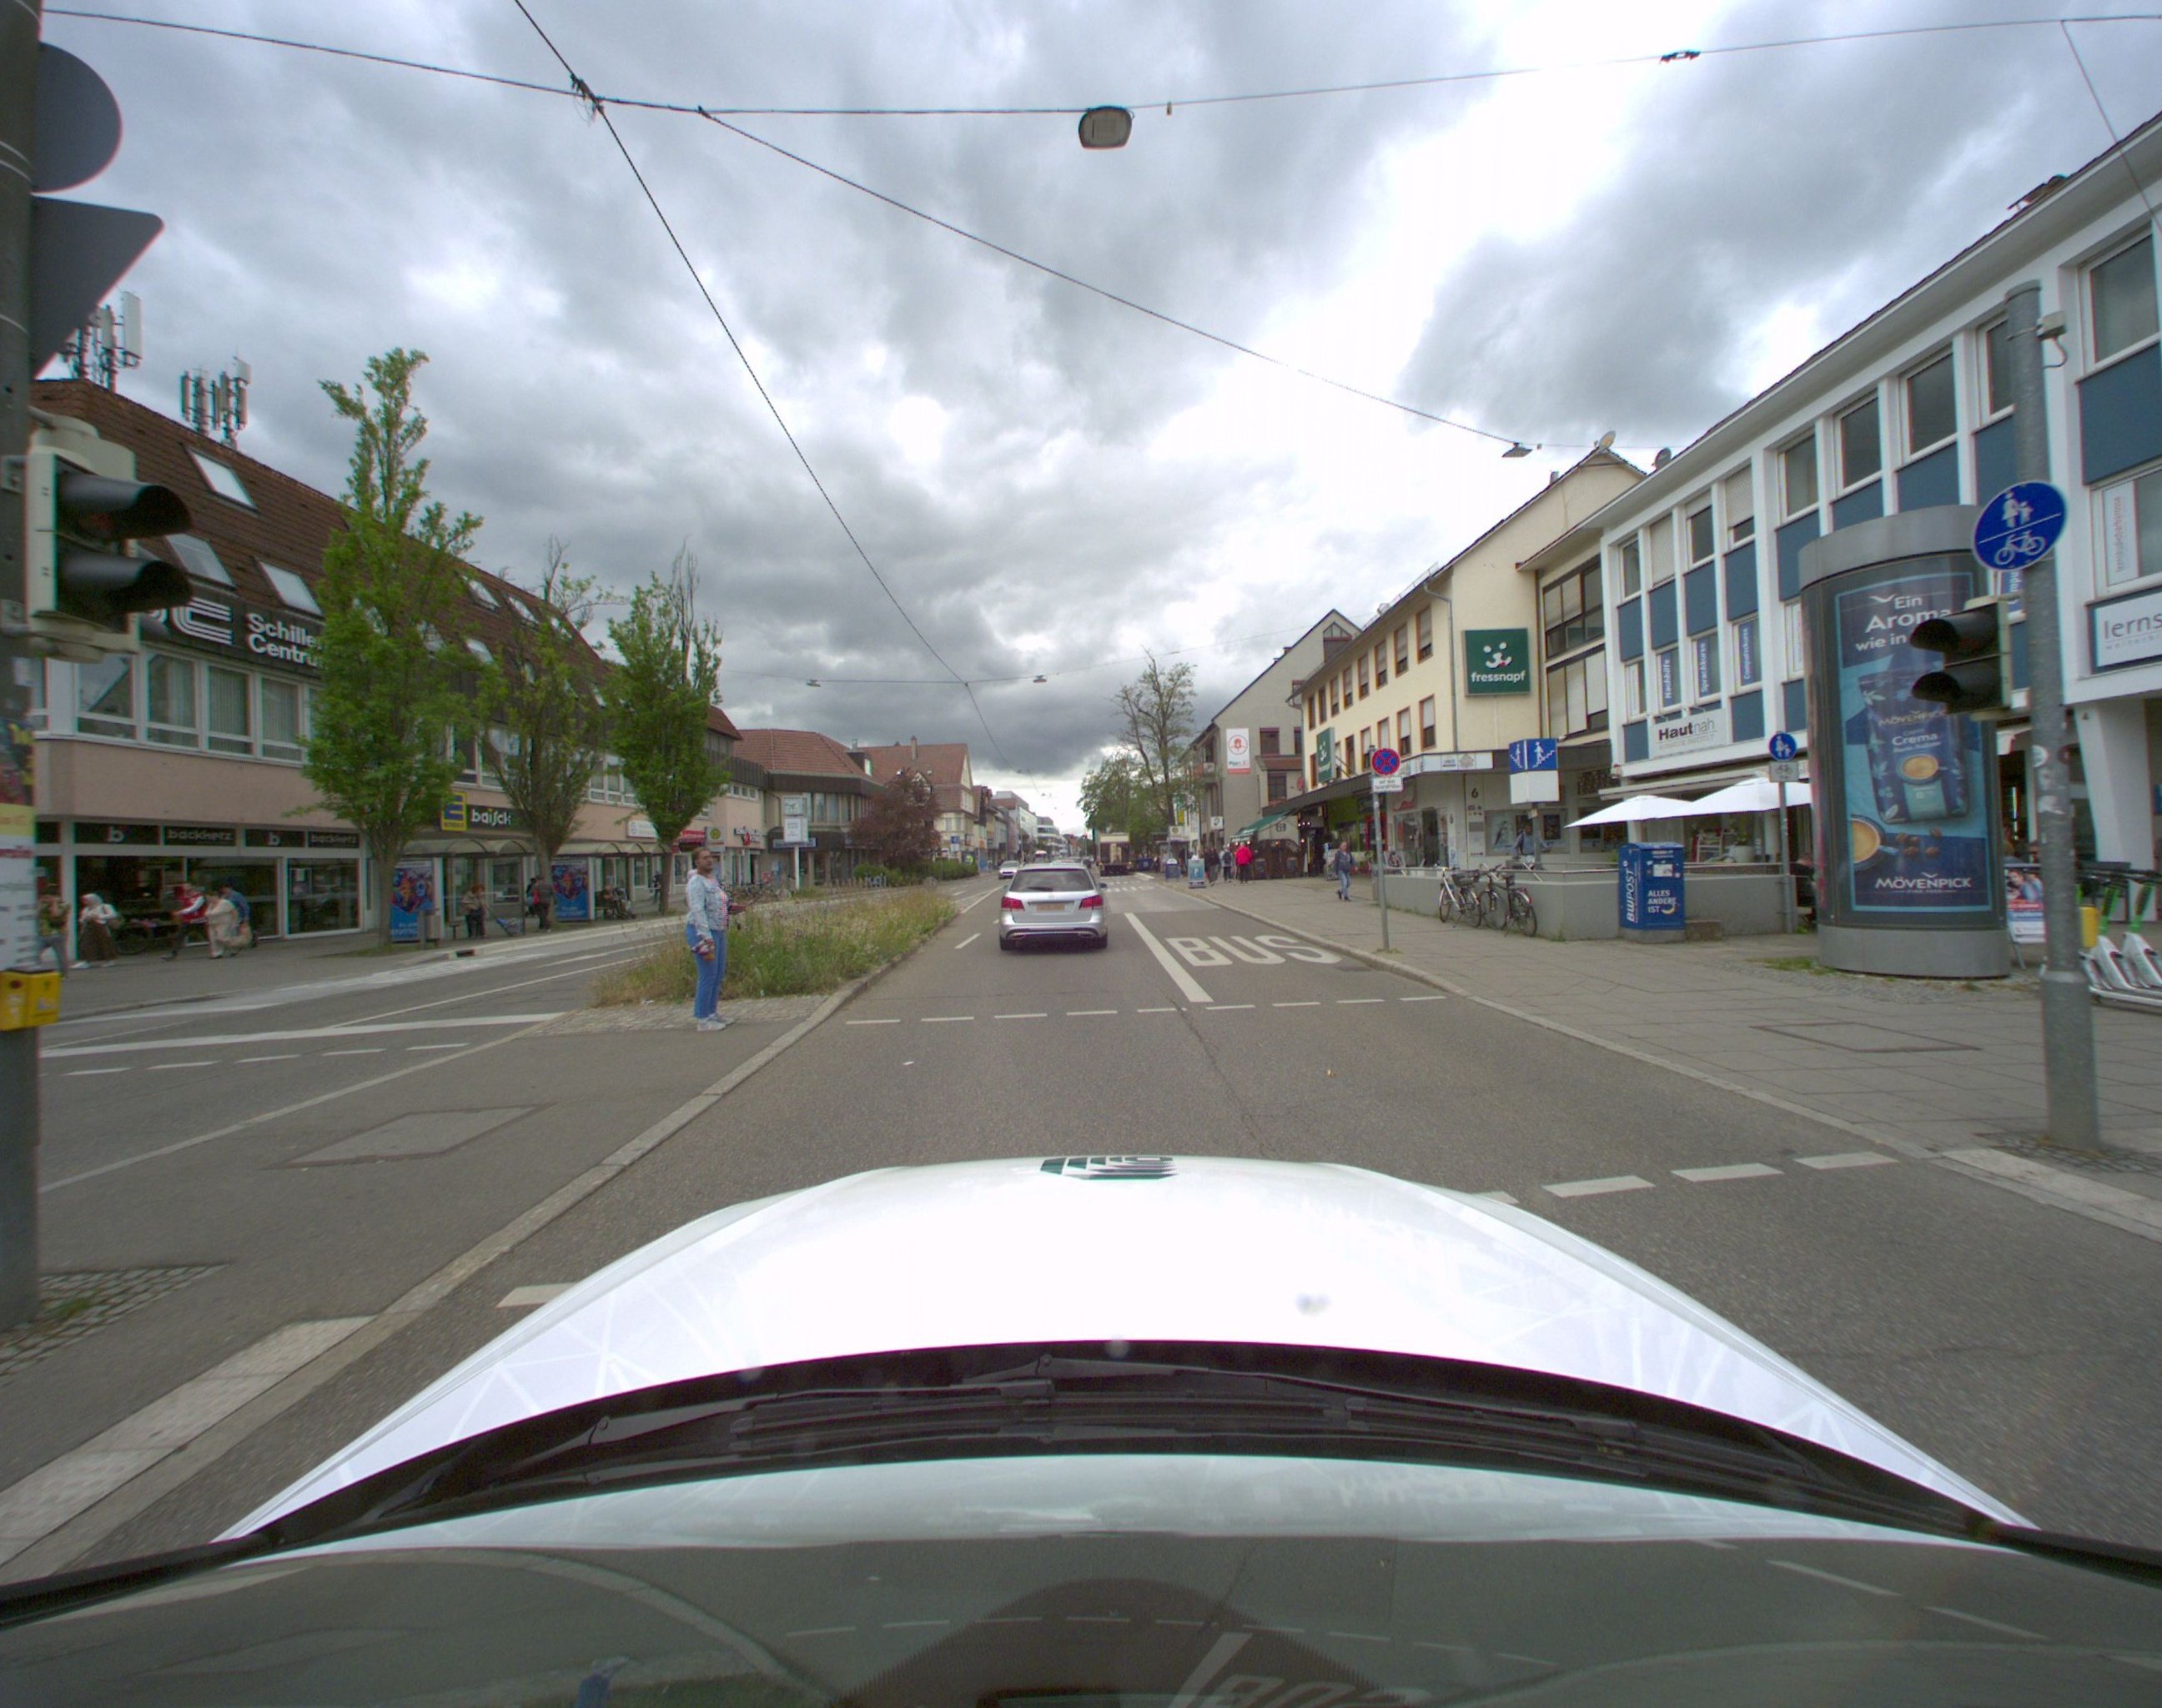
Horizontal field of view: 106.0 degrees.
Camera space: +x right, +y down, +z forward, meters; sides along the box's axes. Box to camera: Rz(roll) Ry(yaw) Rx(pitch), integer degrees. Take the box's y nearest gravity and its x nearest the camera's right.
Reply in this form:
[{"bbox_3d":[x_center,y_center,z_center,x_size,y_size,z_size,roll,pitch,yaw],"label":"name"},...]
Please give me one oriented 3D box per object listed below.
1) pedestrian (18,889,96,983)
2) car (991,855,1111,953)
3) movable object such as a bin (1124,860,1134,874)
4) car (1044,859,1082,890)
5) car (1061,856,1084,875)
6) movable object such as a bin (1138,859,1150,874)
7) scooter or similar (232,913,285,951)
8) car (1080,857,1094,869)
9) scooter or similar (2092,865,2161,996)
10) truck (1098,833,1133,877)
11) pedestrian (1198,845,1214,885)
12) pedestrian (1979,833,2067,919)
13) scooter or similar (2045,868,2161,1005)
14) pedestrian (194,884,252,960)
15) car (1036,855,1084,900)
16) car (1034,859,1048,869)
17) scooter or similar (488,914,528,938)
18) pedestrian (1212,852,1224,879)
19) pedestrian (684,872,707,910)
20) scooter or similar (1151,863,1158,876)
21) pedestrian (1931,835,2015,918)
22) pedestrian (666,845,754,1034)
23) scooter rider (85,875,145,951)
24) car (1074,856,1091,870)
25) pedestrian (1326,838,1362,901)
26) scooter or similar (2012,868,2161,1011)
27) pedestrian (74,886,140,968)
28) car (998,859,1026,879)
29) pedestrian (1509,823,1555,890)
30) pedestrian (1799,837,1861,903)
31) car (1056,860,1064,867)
[{"bbox_3d":[-18.643,1.475,14.840,0.584,1.634,0.614,1,0,-2],"label":"pedestrian"},{"bbox_3d":[-0.510,0.806,14.866,1.869,1.506,3.998,-1,-1,-1],"label":"car"},{"bbox_3d":[4.632,1.246,78.321,0.878,1.339,1.086,-2,-1,2],"label":"movable object such as a bin"},{"bbox_3d":[-0.984,1.149,47.503,1.986,1.684,4.001,-2,0,1],"label":"car"},{"bbox_3d":[-0.792,1.102,78.667,1.986,1.684,4.001,-2,0,1],"label":"car"},{"bbox_3d":[6.045,1.184,78.111,1.139,1.339,1.377,-2,-1,2],"label":"movable object such as a bin"},{"bbox_3d":[-20.438,1.934,20.252,0.590,0.848,0.702,-2,0,0],"label":"scooter or similar"},{"bbox_3d":[0.933,1.351,119.811,1.986,1.684,4.001,-2,0,1],"label":"car"},{"bbox_3d":[9.678,0.680,7.064,0.313,1.132,1.208,-2,0,2],"label":"scooter or similar"},{"bbox_3d":[2.925,0.109,71.840,2.679,3.561,9.766,-2,0,1],"label":"truck"},{"bbox_3d":[5.224,0.459,34.067,0.609,1.678,0.615,1,0,2],"label":"pedestrian"},{"bbox_3d":[13.795,0.313,11.937,0.611,1.220,0.587,1,0,-2],"label":"pedestrian"},{"bbox_3d":[9.289,0.709,7.107,0.313,1.132,1.208,-2,0,2],"label":"scooter or similar"},{"bbox_3d":[-19.069,1.500,18.106,0.584,1.634,0.614,1,0,-2],"label":"pedestrian"},{"bbox_3d":[-0.778,0.874,32.007,1.749,1.520,4.000,-1,1,0],"label":"car"},{"bbox_3d":[-7.323,1.867,149.671,2.061,1.738,4.696,-4,0,3],"label":"car"},{"bbox_3d":[-15.966,2.008,22.712,0.590,0.601,0.702,-2,0,0],"label":"scooter or similar"},{"bbox_3d":[8.373,0.685,49.803,0.584,1.634,0.615,-2,0,2],"label":"pedestrian"},{"bbox_3d":[-18.224,1.755,38.511,0.724,1.764,0.755,1,0,-2],"label":"pedestrian"},{"bbox_3d":[5.435,1.142,60.112,0.387,0.959,0.351,-2,-1,-41],"label":"scooter or similar"},{"bbox_3d":[13.750,0.337,12.566,0.611,1.220,0.587,-3,0,-2],"label":"pedestrian"},{"bbox_3d":[-3.379,0.743,7.466,0.502,1.634,0.662,-2,0,-6],"label":"pedestrian"},{"bbox_3d":[-22.162,1.342,18.692,0.611,1.712,0.587,1,0,-3],"label":"scooter rider"},{"bbox_3d":[0.231,1.168,102.624,1.986,1.684,4.001,-2,0,1],"label":"car"},{"bbox_3d":[7.013,0.405,21.739,0.685,1.634,0.854,-2,0,3],"label":"pedestrian"},{"bbox_3d":[8.943,0.704,7.076,0.313,1.132,1.208,-2,0,2],"label":"scooter or similar"},{"bbox_3d":[-20.313,1.507,16.992,0.584,1.634,0.614,1,0,-2],"label":"pedestrian"},{"bbox_3d":[-5.775,1.283,68.664,1.868,1.506,4.344,-3,-1,1],"label":"car"},{"bbox_3d":[11.302,0.061,20.426,0.664,1.634,0.801,-2,0,1],"label":"pedestrian"},{"bbox_3d":[14.183,0.297,15.433,0.611,1.220,0.587,1,0,-2],"label":"pedestrian"},{"bbox_3d":[-4.206,1.933,165.425,1.566,1.540,2.958,0,-1,-2],"label":"car"}]
